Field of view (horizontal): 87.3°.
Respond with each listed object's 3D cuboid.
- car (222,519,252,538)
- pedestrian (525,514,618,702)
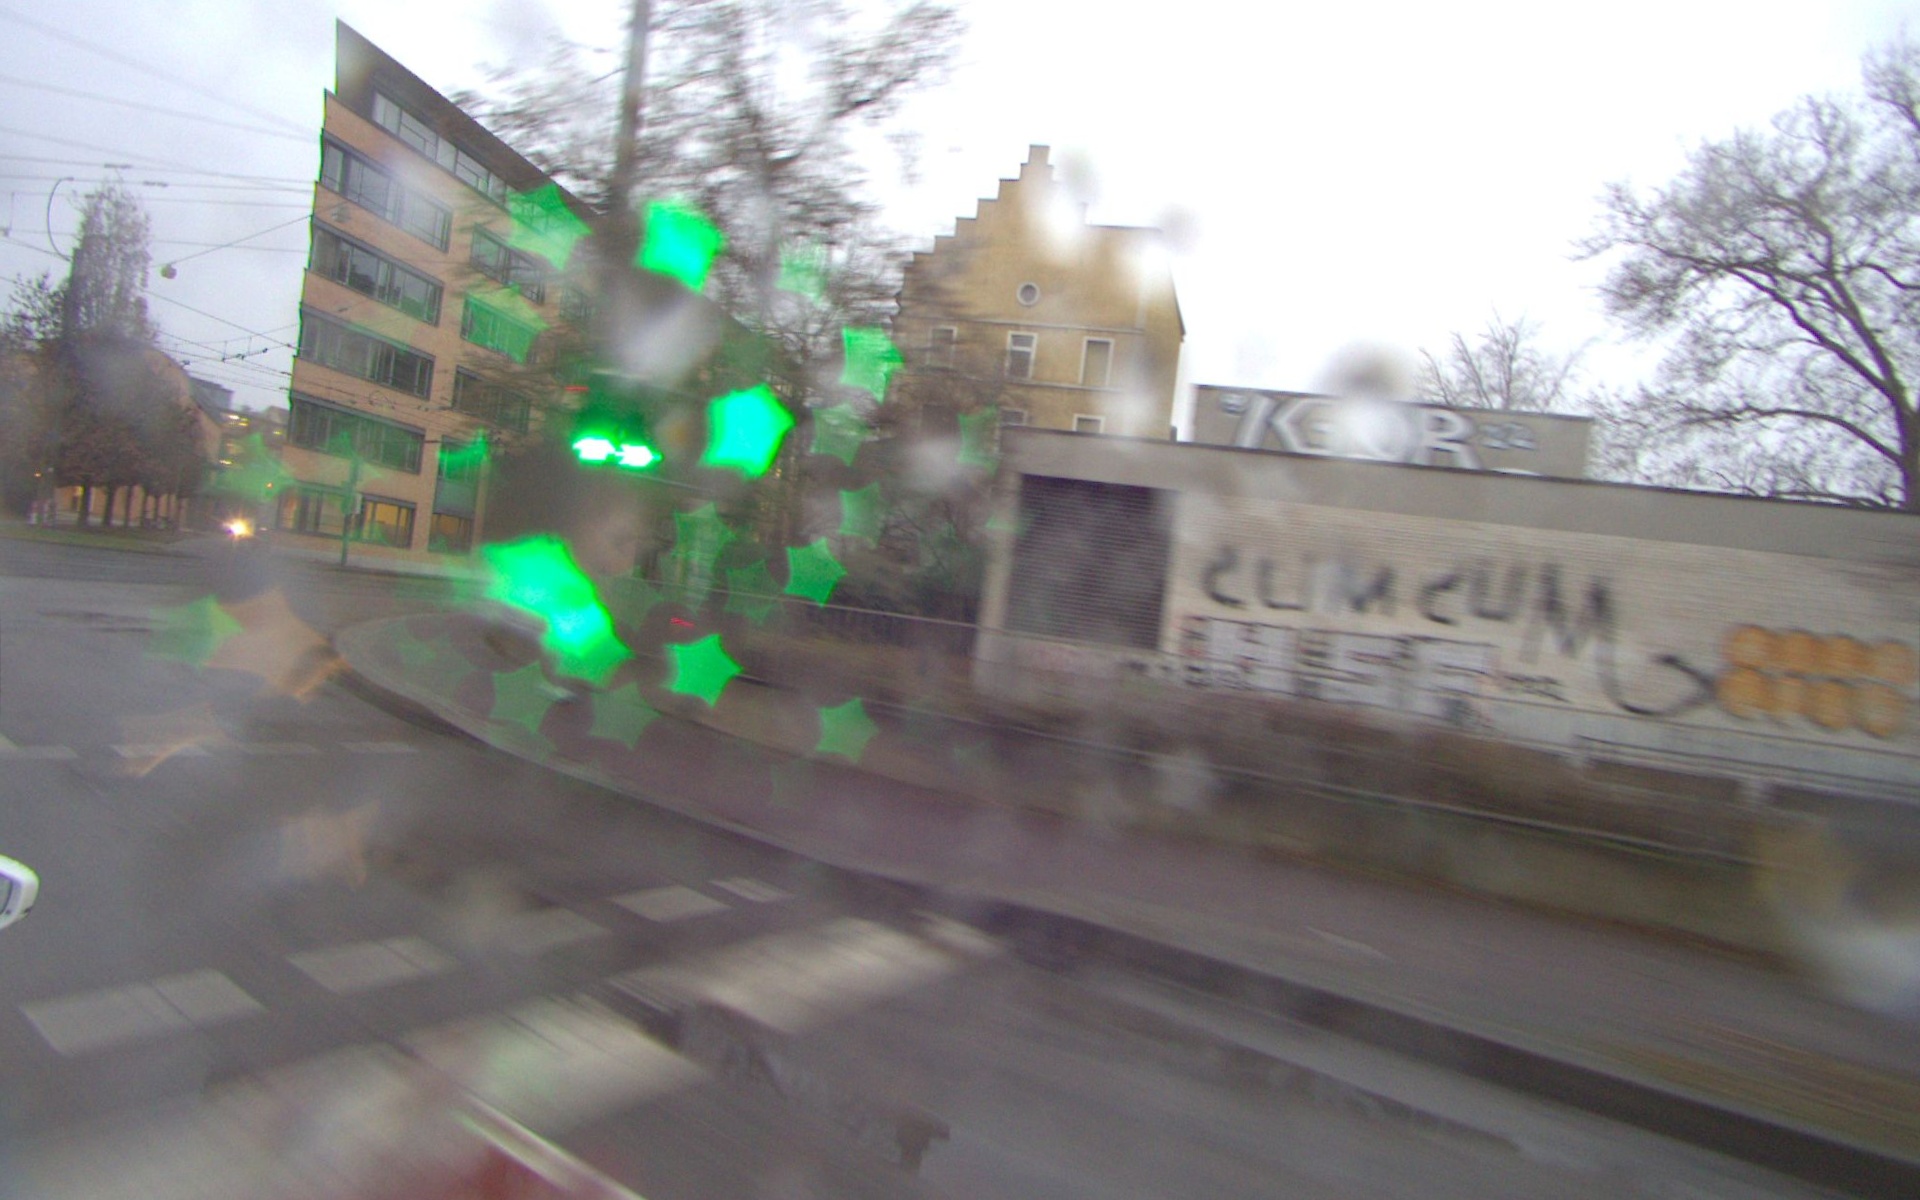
[{"bbox_3d":[-58.599,-5.787,81.566,1.656,1.195,3.676,8,-1,-32],"label":"car"},{"bbox_3d":[-4.088,0.072,10.577,0.673,1.865,0.571,9,7,39],"label":"pedestrian"}]
